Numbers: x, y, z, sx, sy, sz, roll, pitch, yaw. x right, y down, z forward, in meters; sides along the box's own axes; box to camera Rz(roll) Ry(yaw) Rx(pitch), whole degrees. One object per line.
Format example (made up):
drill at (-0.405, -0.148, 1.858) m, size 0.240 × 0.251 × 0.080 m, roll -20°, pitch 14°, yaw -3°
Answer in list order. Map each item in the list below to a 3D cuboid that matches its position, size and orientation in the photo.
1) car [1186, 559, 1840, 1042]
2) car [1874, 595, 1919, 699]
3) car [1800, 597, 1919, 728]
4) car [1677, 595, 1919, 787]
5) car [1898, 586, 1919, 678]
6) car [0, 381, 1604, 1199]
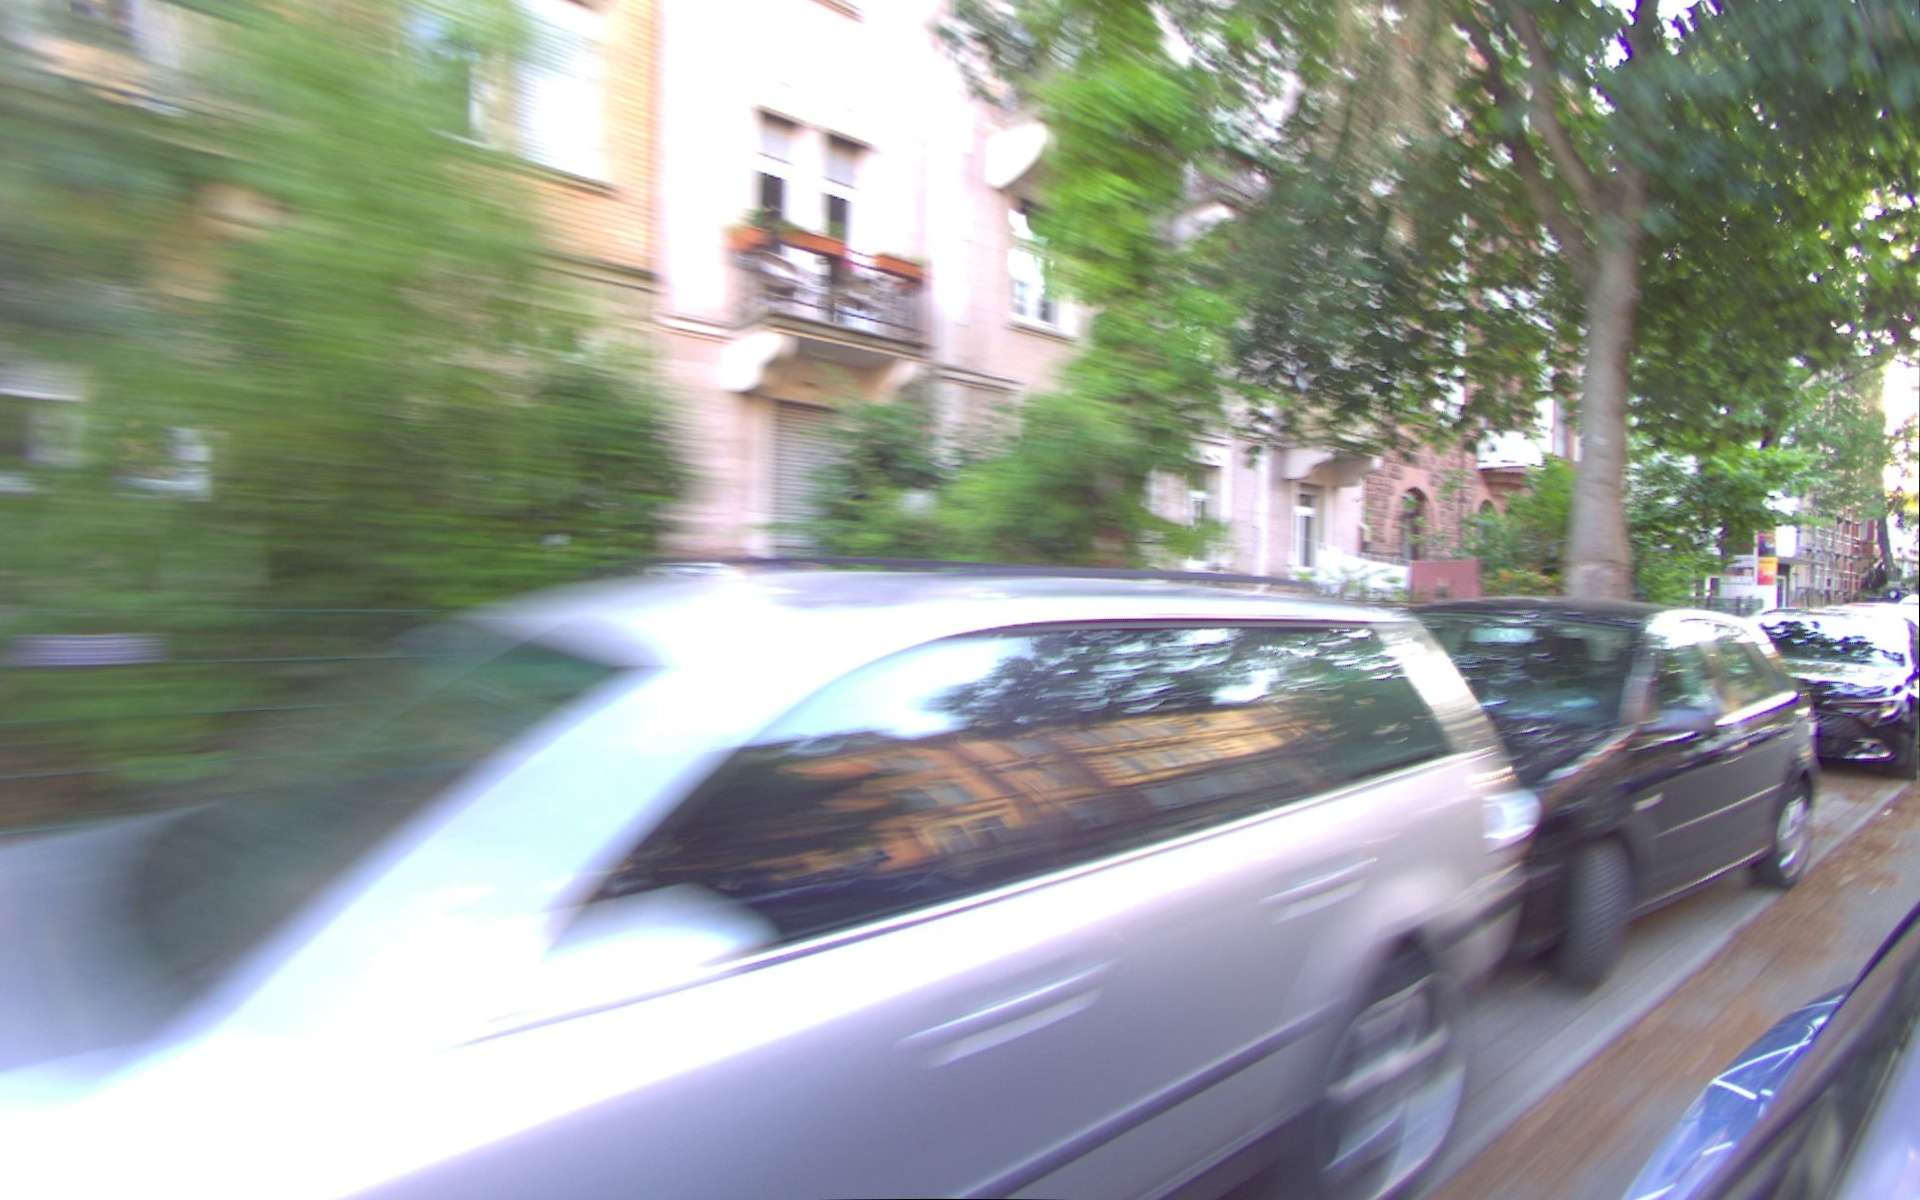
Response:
car at (2.874, 0.637, 4.980) m, size 3.537 × 1.544 × 1.590 m, roll 0°, pitch 0°, yaw -39°
car at (15.861, 0.707, 16.216) m, size 3.282 × 1.567 × 1.500 m, roll 0°, pitch 1°, yaw -43°
car at (12.495, 0.734, 13.499) m, size 3.862 × 1.525 × 1.477 m, roll 0°, pitch 1°, yaw -43°
car at (8.692, 0.720, 10.061) m, size 4.093 × 1.525 × 1.734 m, roll 0°, pitch 1°, yaw -43°
car at (19.914, 0.609, 19.973) m, size 4.098 × 1.723 × 1.734 m, roll 0°, pitch 1°, yaw -43°
car at (-0.524, 0.620, 2.156) m, size 4.754 × 1.602 × 1.760 m, roll 0°, pitch 0°, yaw -39°
